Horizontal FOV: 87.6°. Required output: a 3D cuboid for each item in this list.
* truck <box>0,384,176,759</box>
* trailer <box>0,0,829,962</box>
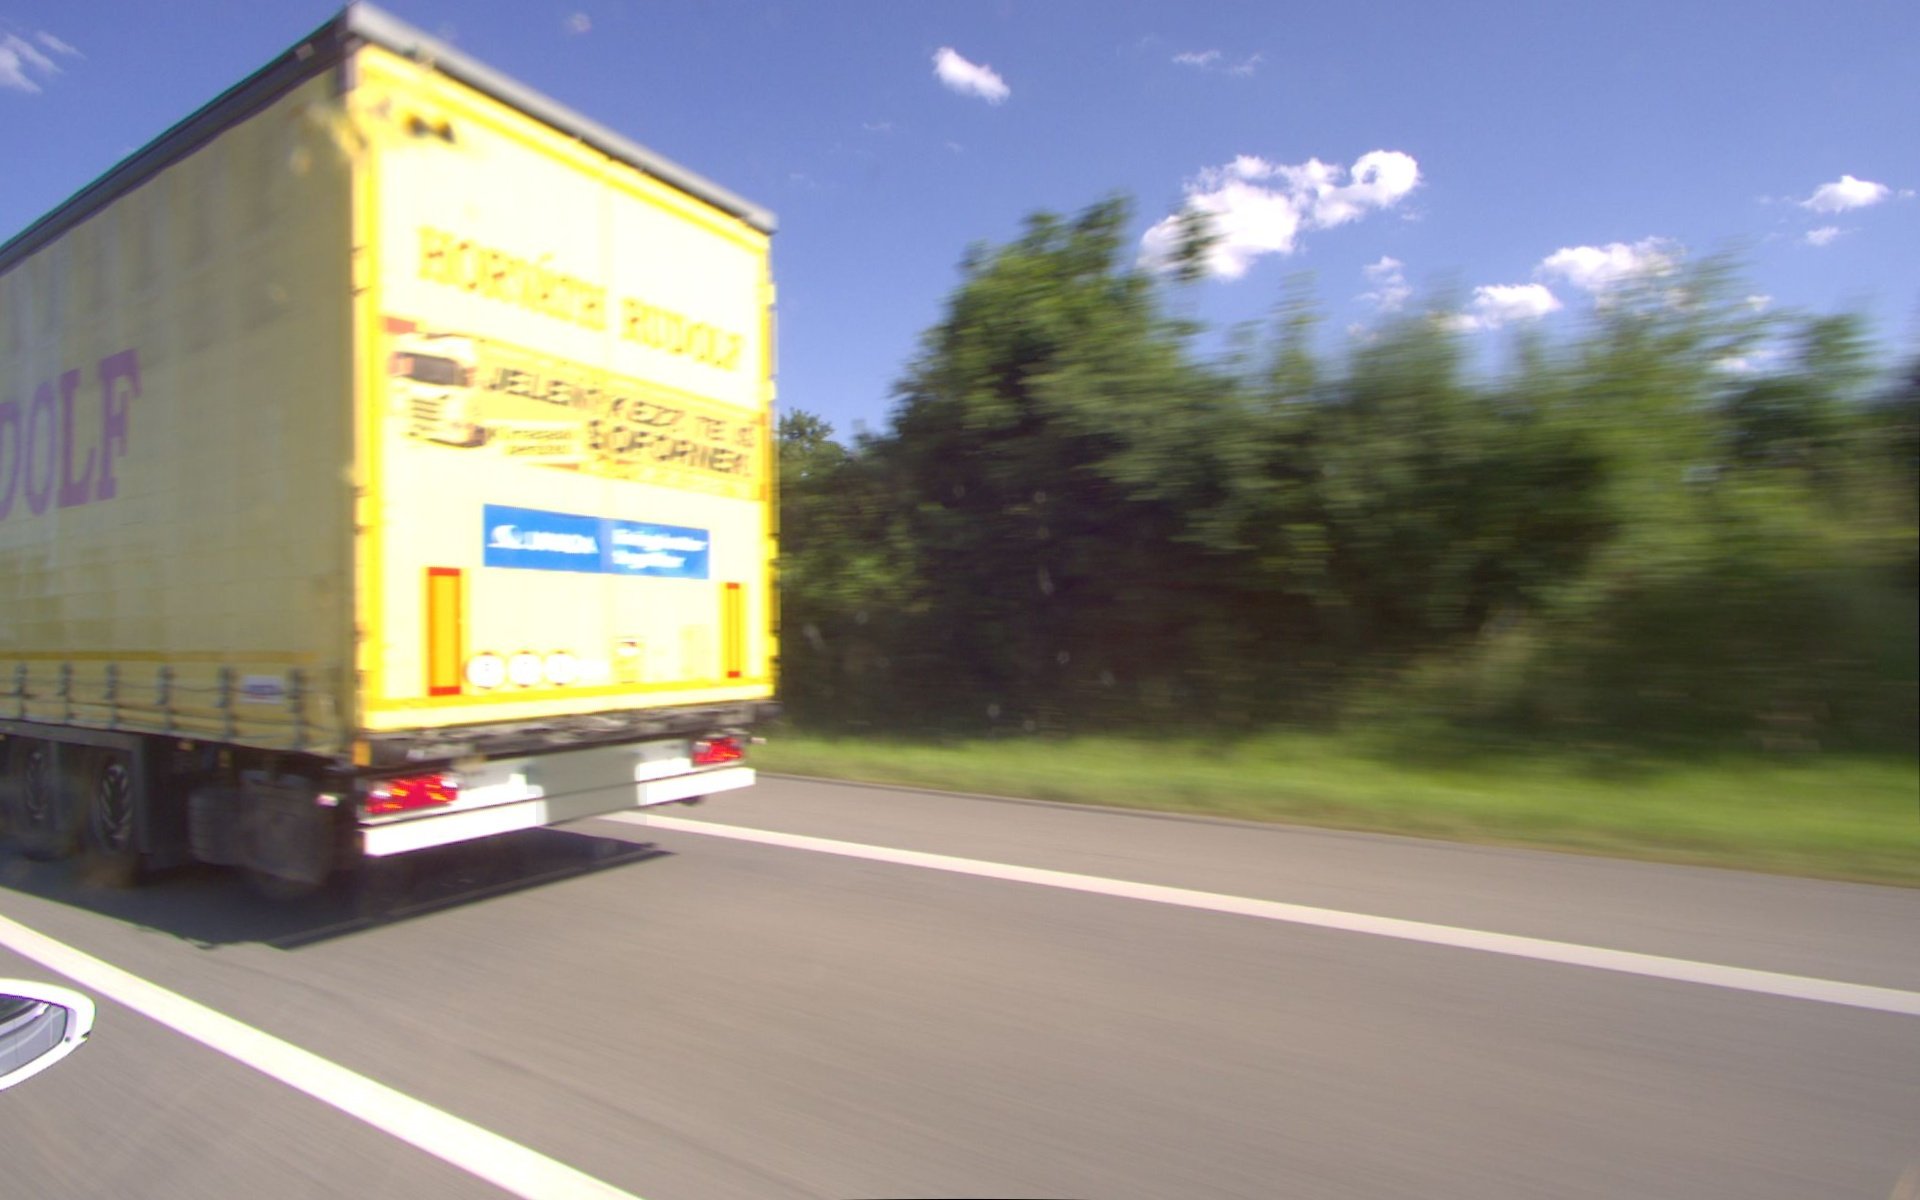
[{"bbox_3d":[-13.337,-0.251,12.811,6.295,4.166,3.165,-1,-2,31],"label":"truck"},{"bbox_3d":[-7.205,-0.407,8.894,12.999,4.110,3.180,-1,-2,32],"label":"trailer"}]
